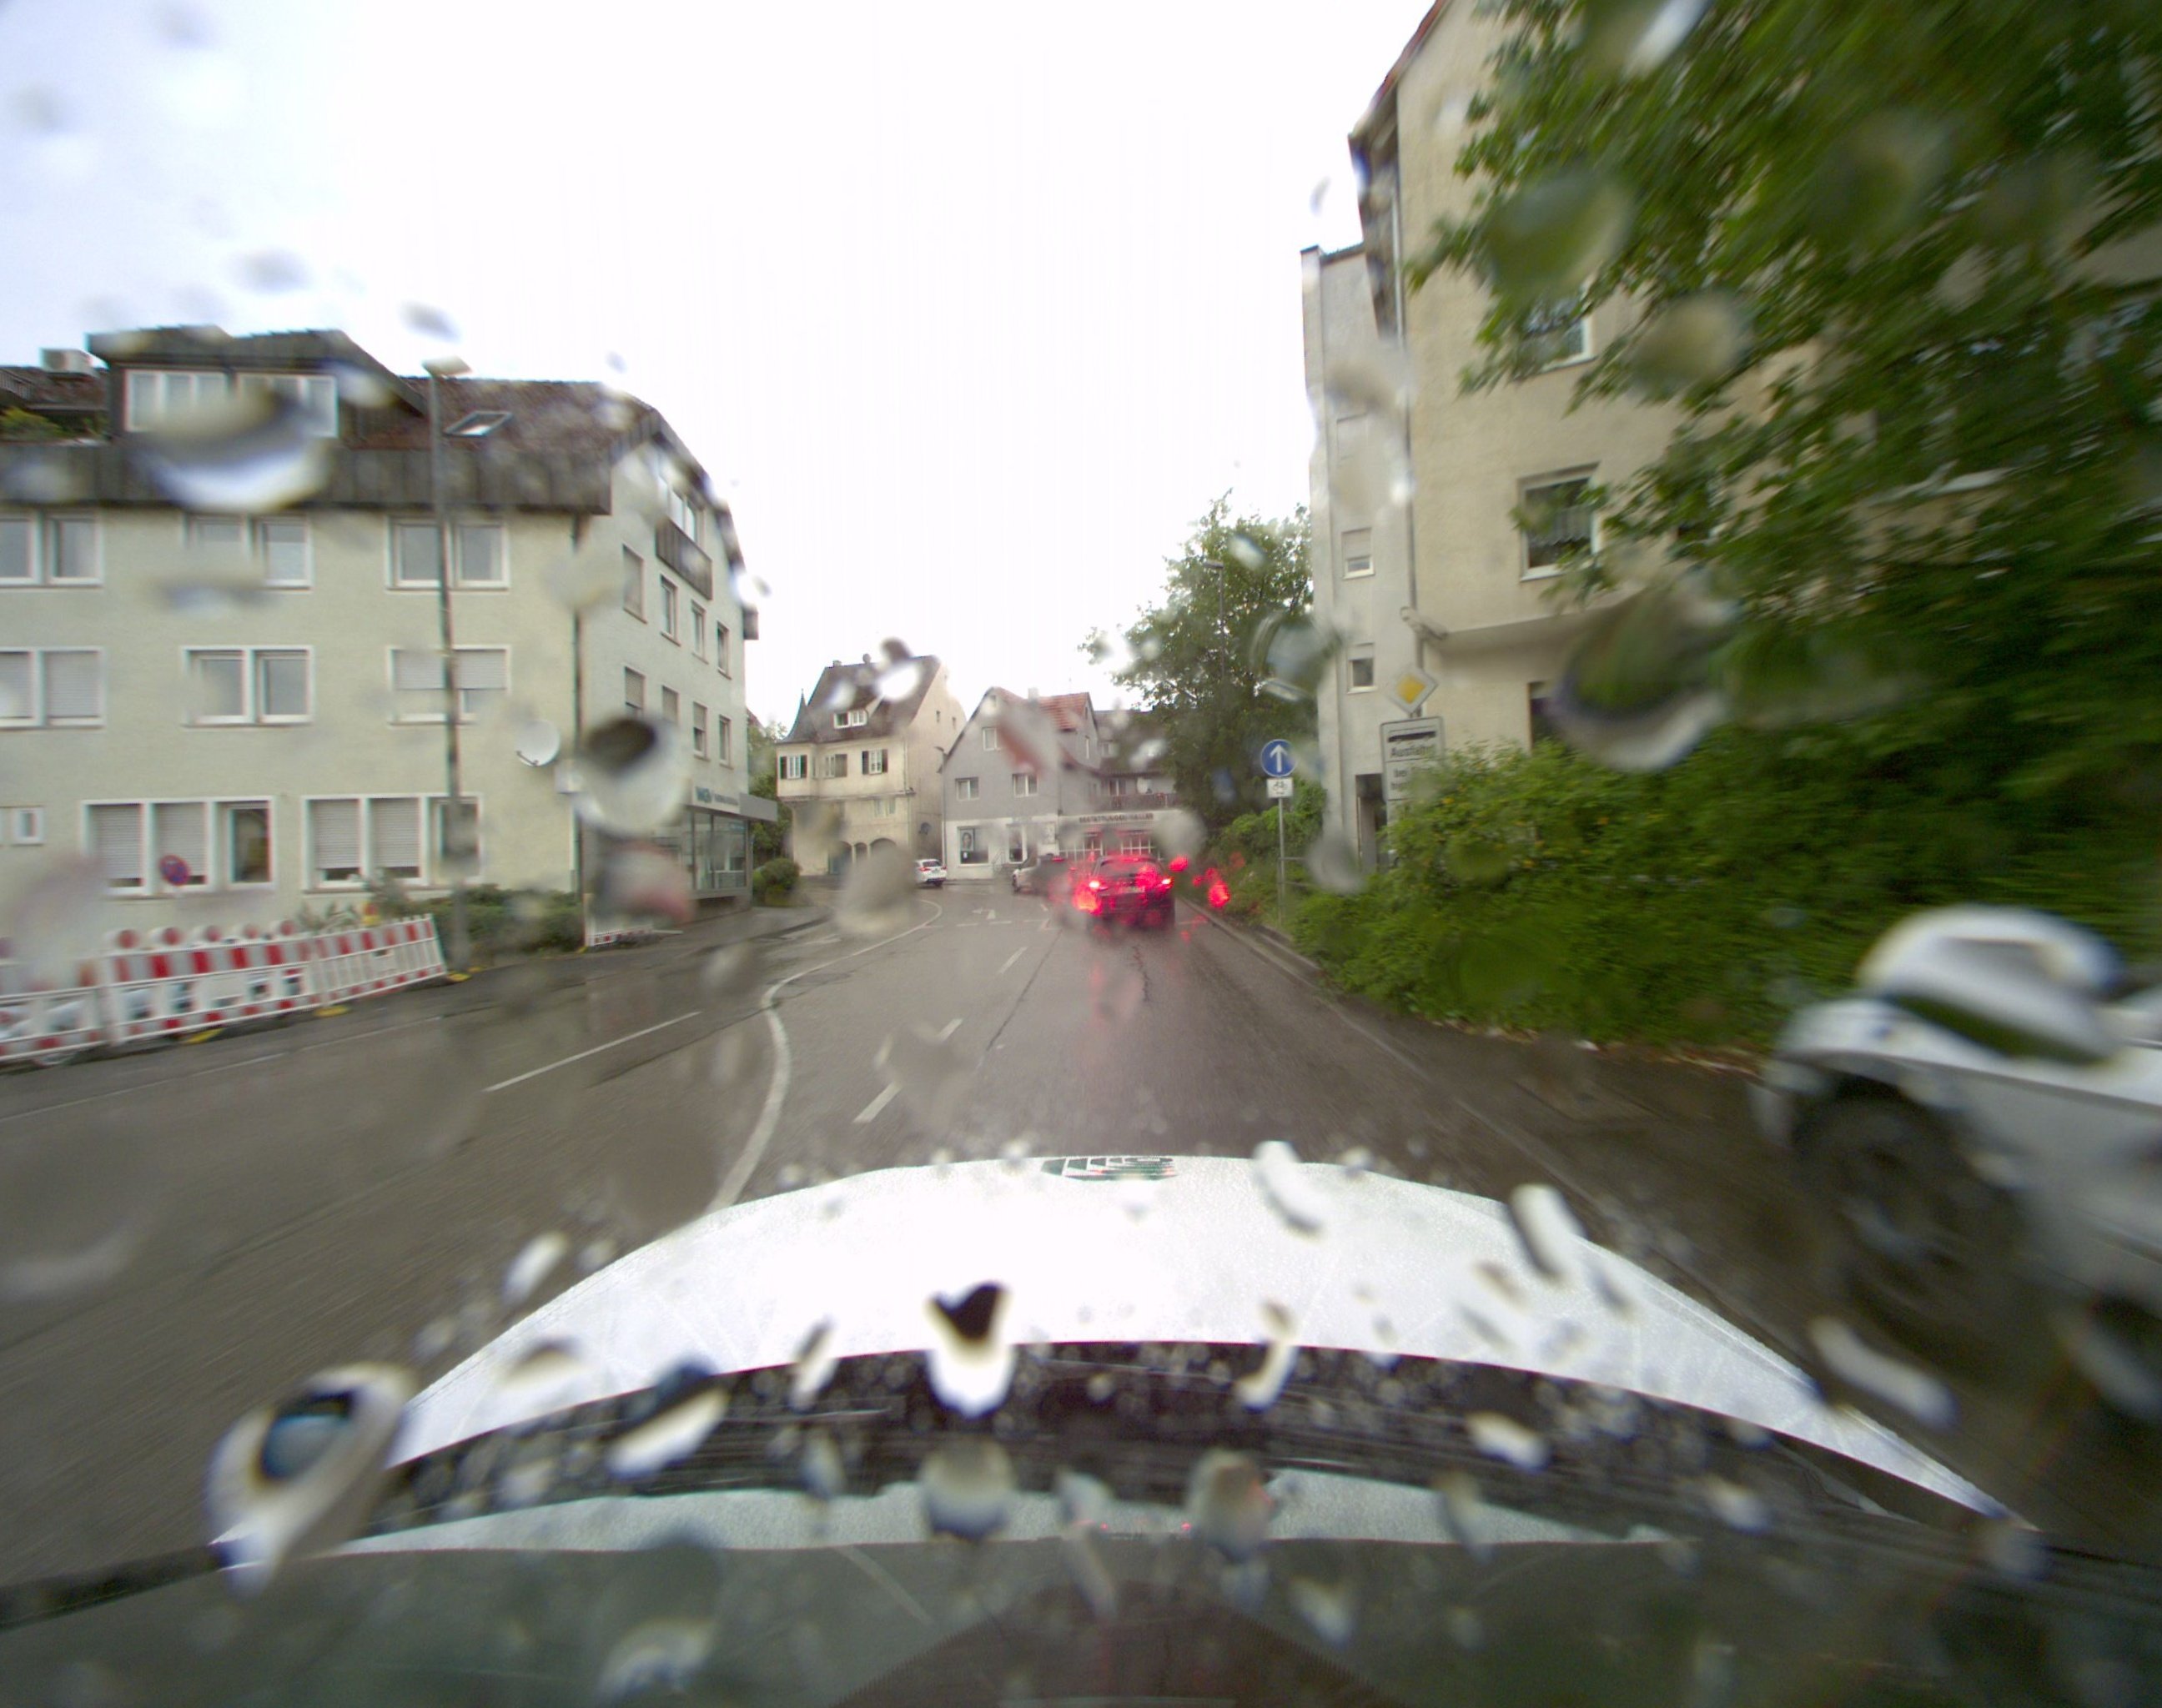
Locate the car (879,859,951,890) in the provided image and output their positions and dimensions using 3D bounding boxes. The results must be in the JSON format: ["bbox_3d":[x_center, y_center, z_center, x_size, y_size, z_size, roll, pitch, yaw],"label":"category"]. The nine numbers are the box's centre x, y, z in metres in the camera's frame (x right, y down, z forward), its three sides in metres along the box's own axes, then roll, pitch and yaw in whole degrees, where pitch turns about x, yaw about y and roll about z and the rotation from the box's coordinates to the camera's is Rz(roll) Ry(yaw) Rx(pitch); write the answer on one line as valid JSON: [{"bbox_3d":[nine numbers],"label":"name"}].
[{"bbox_3d":[-8.893,1.067,43.571,1.802,1.465,4.113,-3,2,-44],"label":"car"}]

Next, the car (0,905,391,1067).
[{"bbox_3d":[-12.521,1.789,11.668,3.497,1.389,1.647,-10,2,-8],"label":"car"}]

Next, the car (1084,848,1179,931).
[{"bbox_3d":[0.962,0.659,17.503,1.726,1.450,4.241,-2,1,0],"label":"car"}]

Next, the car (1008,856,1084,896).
[{"bbox_3d":[-1.549,0.892,34.544,1.797,1.517,4.209,-3,1,-23],"label":"car"}]

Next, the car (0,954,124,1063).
[{"bbox_3d":[-16.921,2.527,11.986,3.442,1.311,1.497,-10,2,-5],"label":"car"}]

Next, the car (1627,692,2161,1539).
[{"bbox_3d":[3.156,0.510,1.018,1.922,1.780,4.738,-3,0,4],"label":"car"}]
